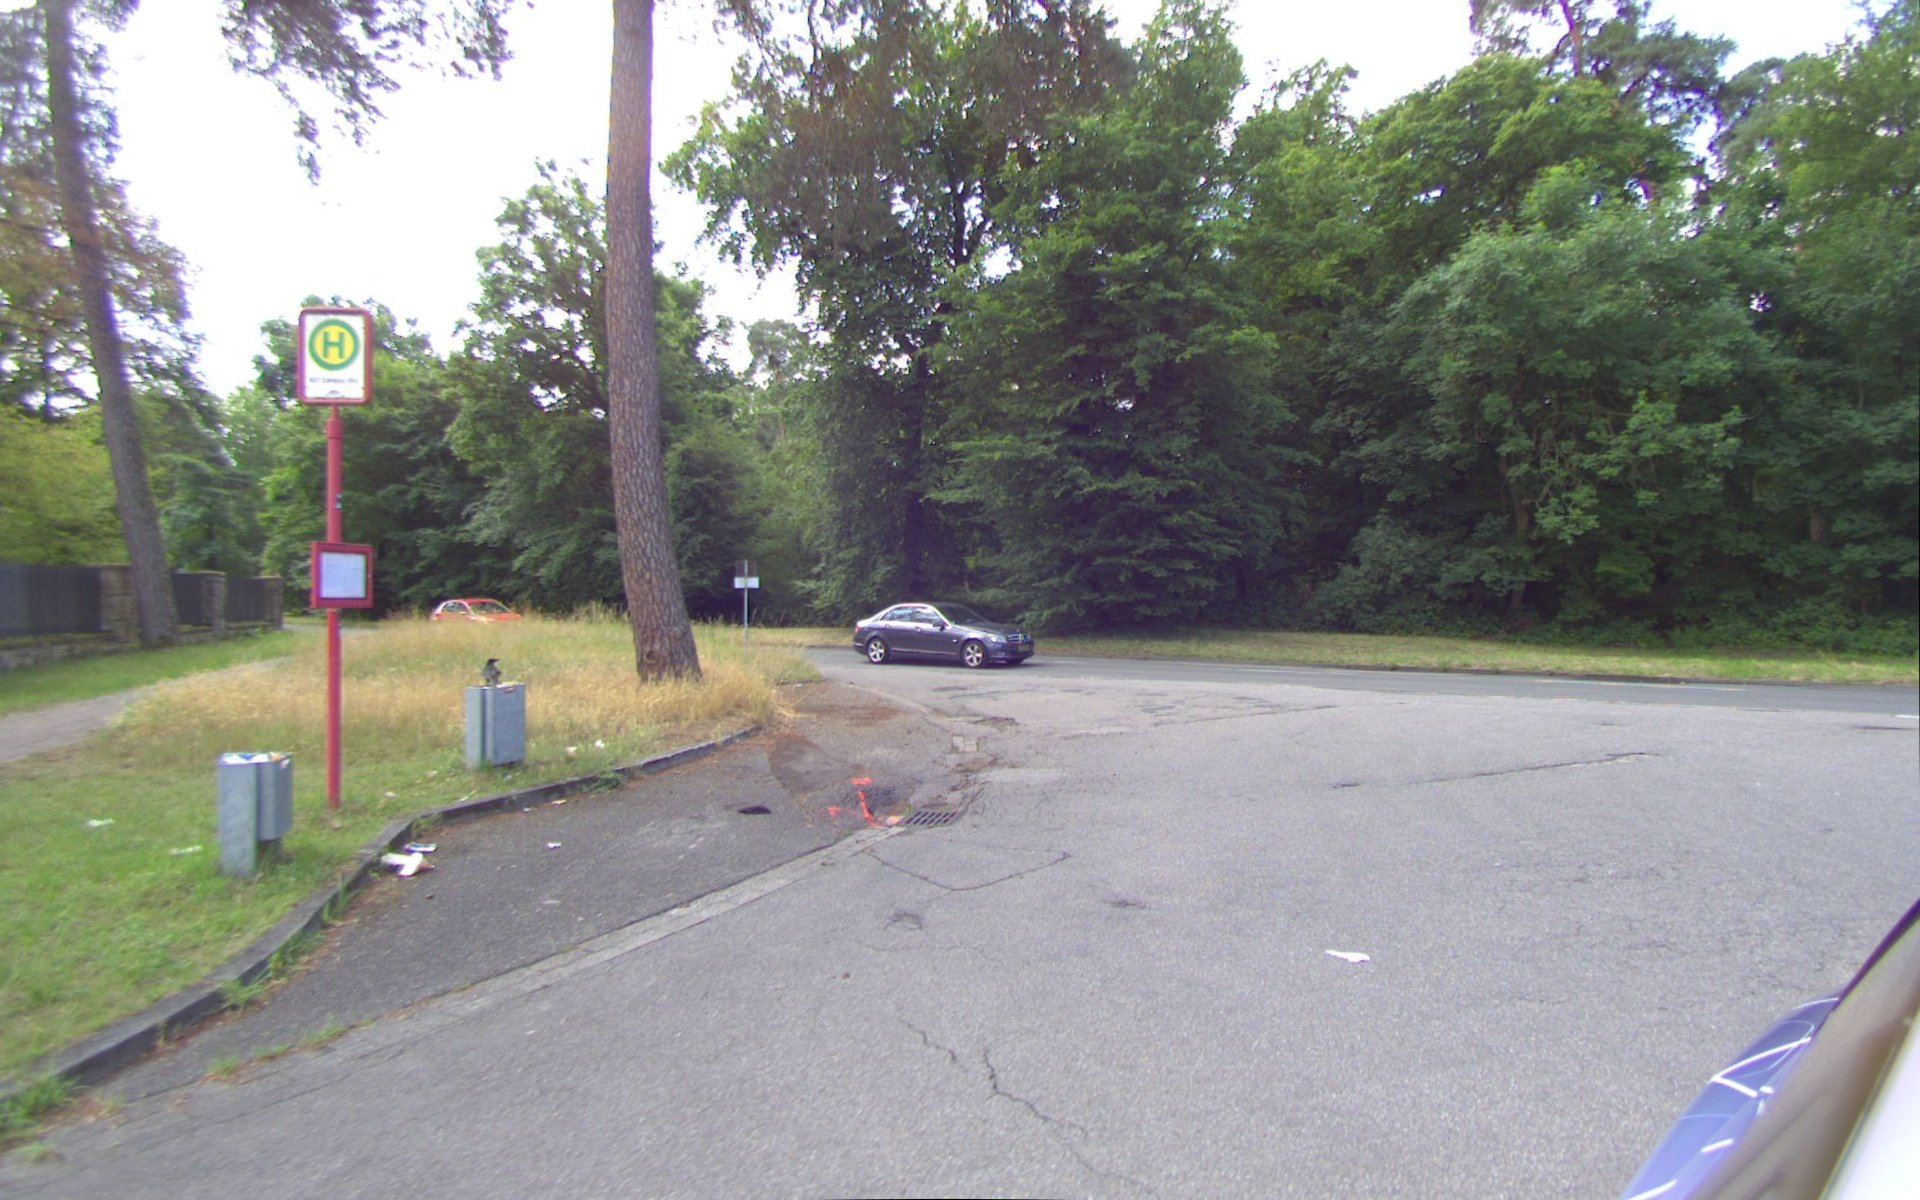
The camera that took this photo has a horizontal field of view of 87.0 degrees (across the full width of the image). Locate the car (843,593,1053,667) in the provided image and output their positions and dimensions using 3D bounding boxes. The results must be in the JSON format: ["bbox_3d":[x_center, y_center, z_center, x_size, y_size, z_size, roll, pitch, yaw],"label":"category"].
[{"bbox_3d":[-0.323,0.643,23.073,4.500,1.482,1.942,-1,1,36],"label":"car"}]

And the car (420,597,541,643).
[{"bbox_3d":[-16.622,0.659,35.036,4.175,1.482,1.975,0,0,34],"label":"car"}]
